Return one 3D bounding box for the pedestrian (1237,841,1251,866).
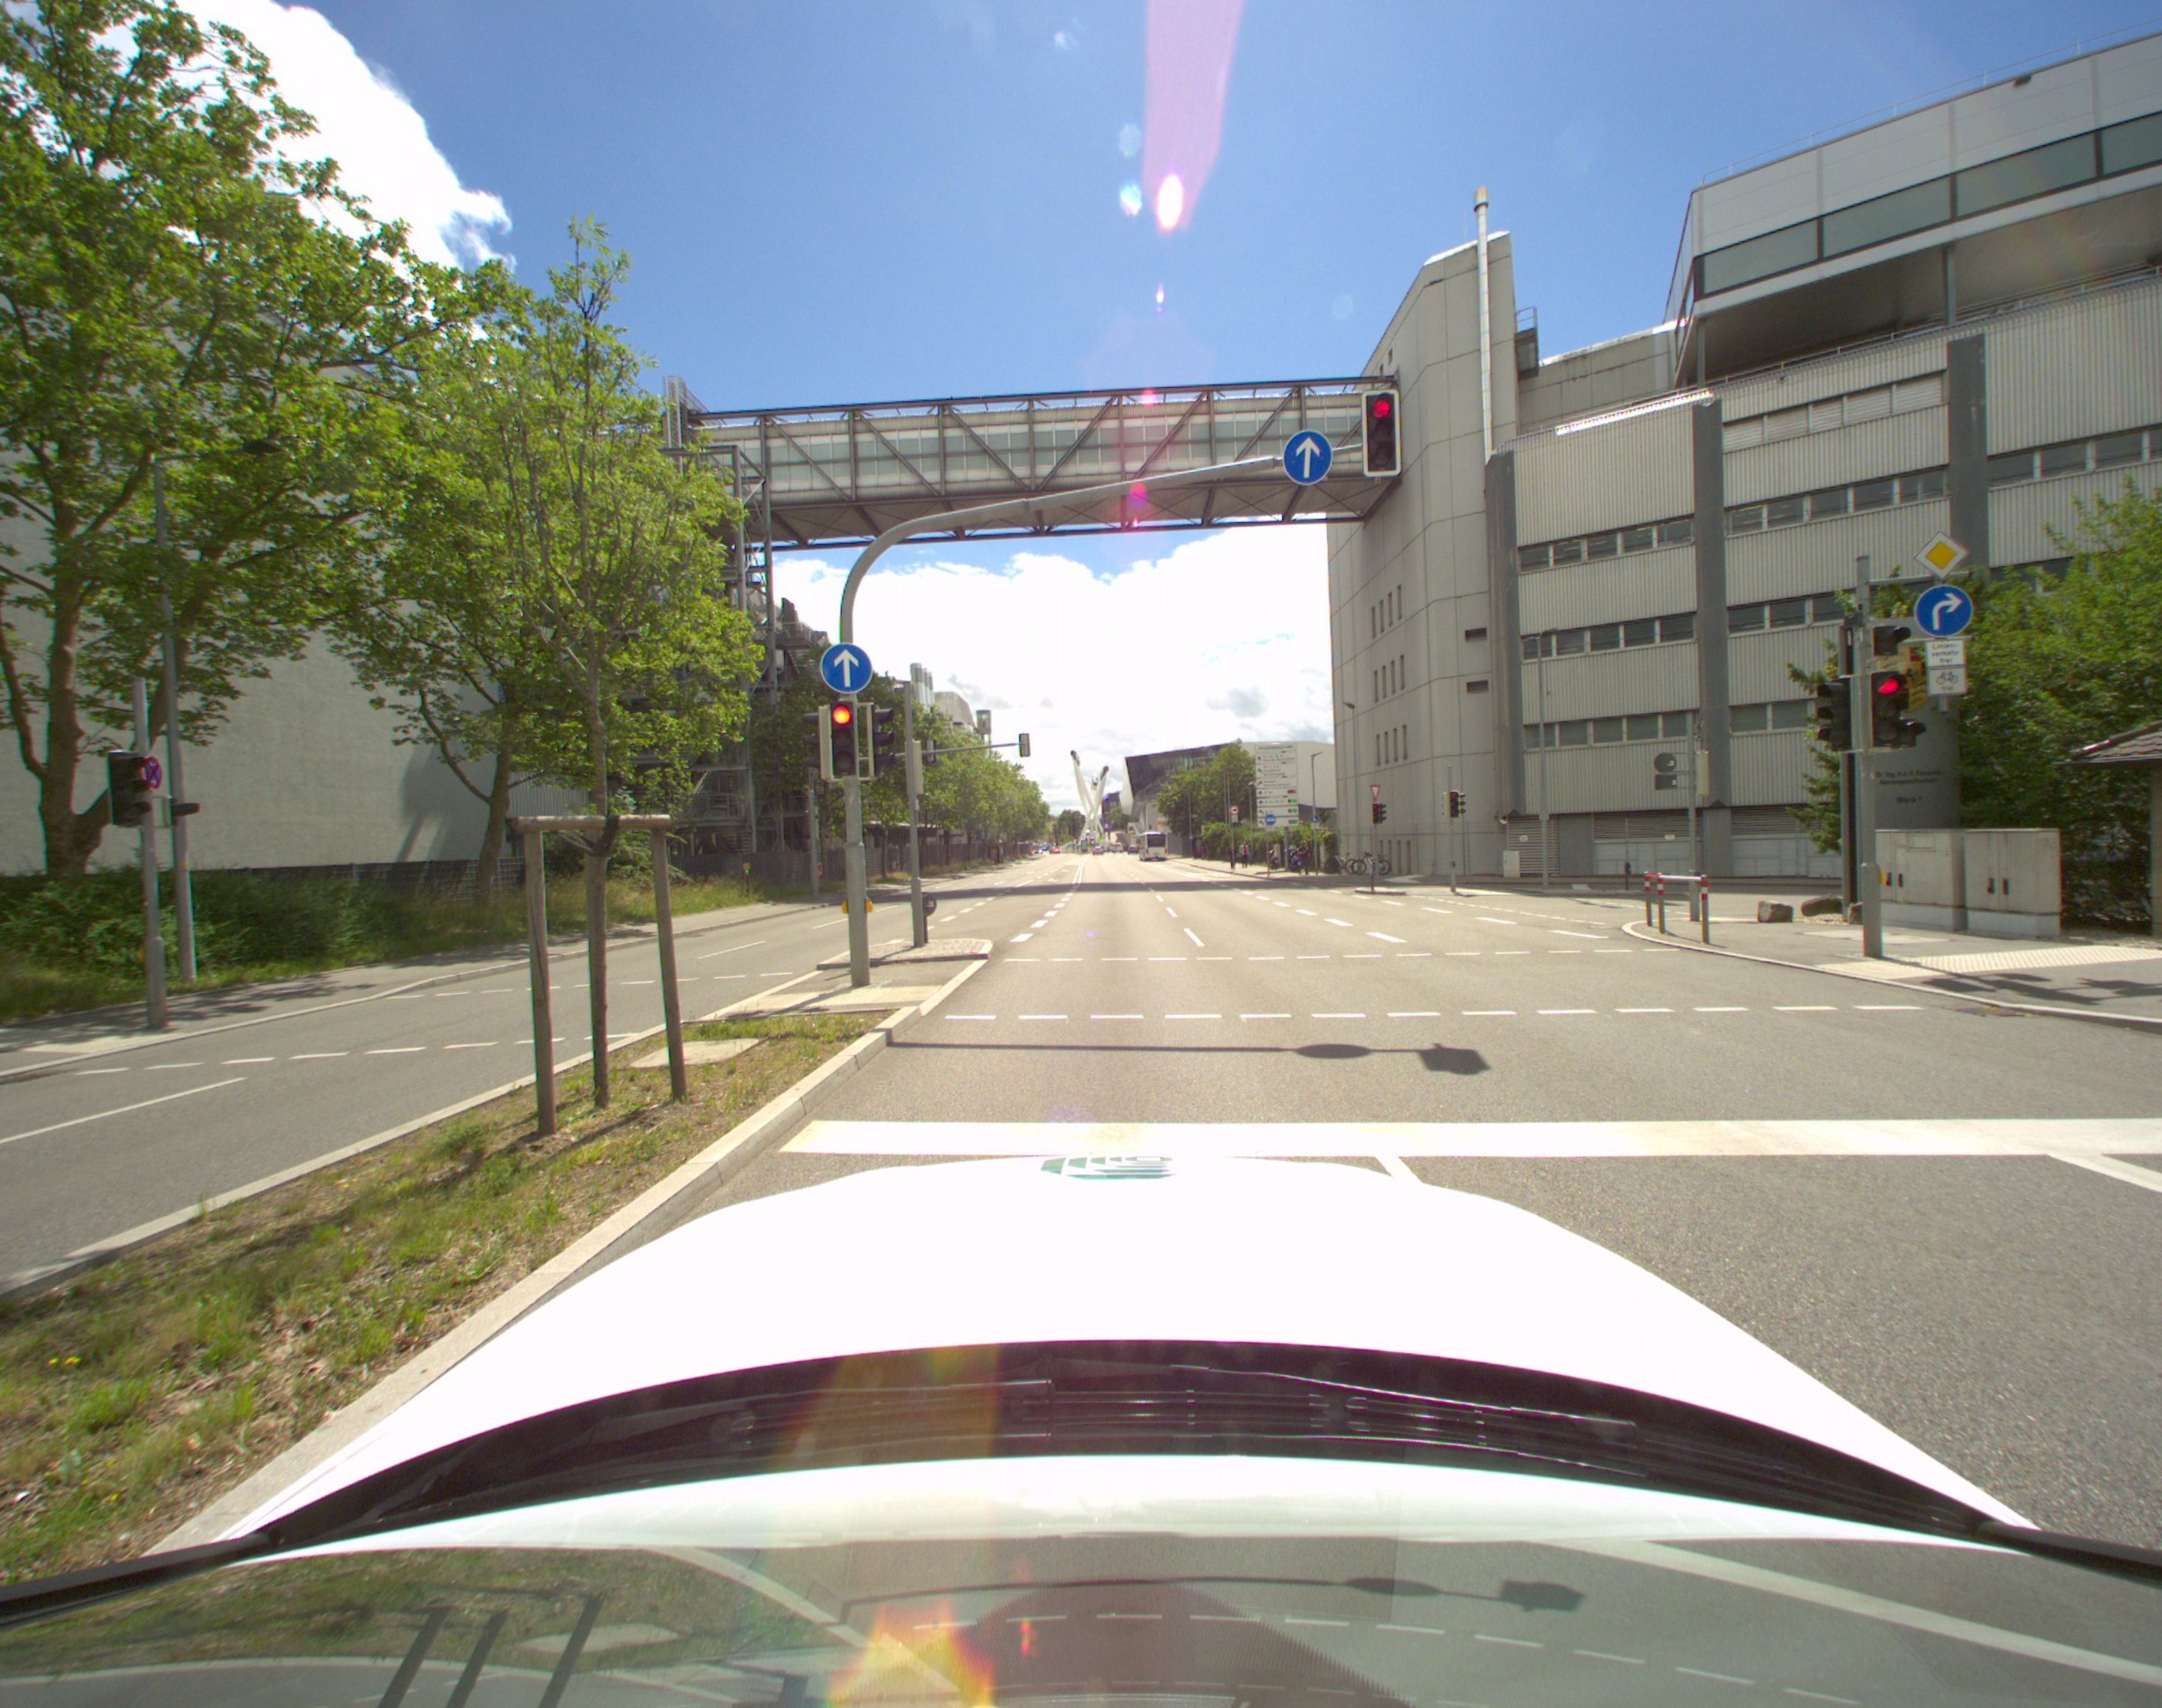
[{"bbox_3d":[11.409,-0.017,57.110,0.817,1.741,0.637,-1,0,1],"label":"pedestrian"}]

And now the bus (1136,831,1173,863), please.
[{"bbox_3d":[8.580,-0.808,96.276,3.441,3.543,10.606,-1,0,1],"label":"bus"}]

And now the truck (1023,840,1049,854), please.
[{"bbox_3d":[-13.030,-2.072,235.016,7.109,3.894,2.459,0,-2,-35],"label":"truck"}]

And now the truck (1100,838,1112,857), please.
[{"bbox_3d":[5.320,-1.344,172.259,2.383,3.897,6.180,-1,0,2],"label":"truck"}]

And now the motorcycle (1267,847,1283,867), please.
[{"bbox_3d":[12.537,0.205,52.604,0.572,1.203,2.025,-3,1,2],"label":"motorcycle"}]

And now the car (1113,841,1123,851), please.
[{"bbox_3d":[7.522,-1.584,165.651,1.985,2.014,4.004,-1,-1,4],"label":"car"}]

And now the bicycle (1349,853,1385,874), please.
[{"bbox_3d":[13.491,0.457,38.500,0.399,0.937,1.913,-1,0,-24],"label":"bicycle"}]

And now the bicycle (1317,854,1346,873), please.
[{"bbox_3d":[12.547,0.458,40.811,0.398,0.937,1.917,-1,0,-17],"label":"bicycle"}]

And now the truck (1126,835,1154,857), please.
[{"bbox_3d":[12.486,-1.646,171.488,3.424,4.391,9.466,-1,0,19],"label":"truck"}]

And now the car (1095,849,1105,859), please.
[{"bbox_3d":[3.428,-0.044,143.732,1.732,1.741,3.693,-1,0,2],"label":"car"}]

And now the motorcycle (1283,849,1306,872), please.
[{"bbox_3d":[11.716,0.340,44.757,0.703,1.203,2.025,-3,1,2],"label":"motorcycle"}]

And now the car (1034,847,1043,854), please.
[{"bbox_3d":[-10.659,-0.893,204.337,1.812,1.537,3.680,-3,0,2],"label":"car"}]

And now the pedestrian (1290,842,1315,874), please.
[{"bbox_3d":[11.329,0.209,41.664,0.839,1.624,0.962,-1,0,43],"label":"pedestrian"}]

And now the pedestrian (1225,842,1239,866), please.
[{"bbox_3d":[10.594,-0.007,57.040,0.817,1.707,0.881,-1,0,1],"label":"pedestrian"}]

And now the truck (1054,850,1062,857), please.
[{"bbox_3d":[-5.249,-0.192,185.119,1.582,1.537,3.668,-1,0,-8],"label":"truck"}]

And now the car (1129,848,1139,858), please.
[{"bbox_3d":[9.492,-0.121,146.167,1.732,1.741,3.693,-1,0,2],"label":"car"}]
